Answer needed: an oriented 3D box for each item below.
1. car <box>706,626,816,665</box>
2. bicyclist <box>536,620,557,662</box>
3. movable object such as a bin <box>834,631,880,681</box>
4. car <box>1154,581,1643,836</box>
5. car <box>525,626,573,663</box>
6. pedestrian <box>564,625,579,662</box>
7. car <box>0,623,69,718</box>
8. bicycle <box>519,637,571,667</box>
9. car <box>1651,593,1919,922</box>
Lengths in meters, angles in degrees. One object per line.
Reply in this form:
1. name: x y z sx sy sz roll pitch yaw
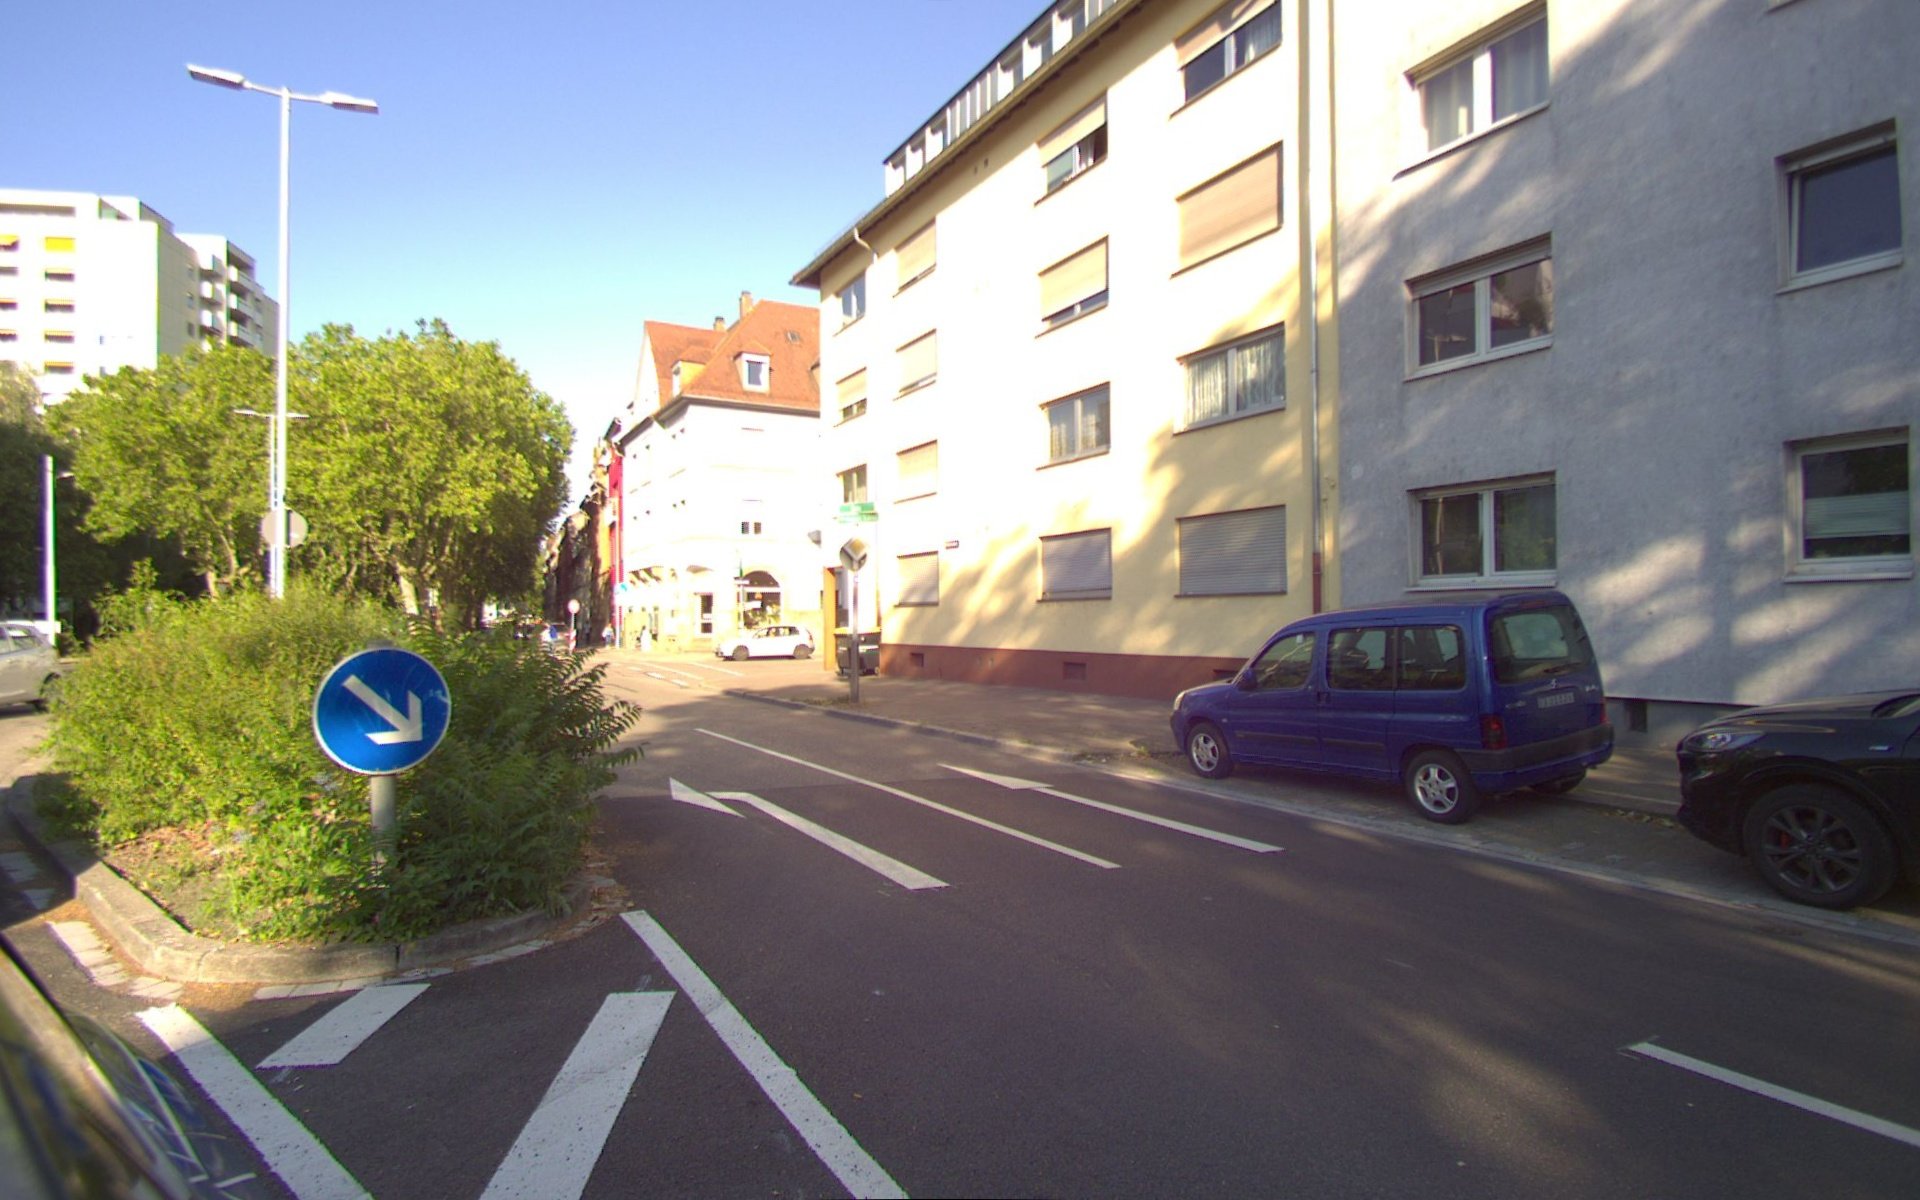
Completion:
1. car: -8.254 1.864 41.975 4.133 1.523 1.807 0 -2 -27
2. bicyclist: -15.930 1.576 38.994 0.738 1.565 0.632 0 -2 -21
3. movable object such as a bin: -2.815 1.508 27.500 1.017 1.296 1.065 0 -2 -19
4. car: 3.808 0.836 9.557 1.641 1.832 4.017 -2 -1 -29
5. car: -21.342 2.274 52.501 1.867 1.806 4.012 1 -2 -29
6. pedestrian: -18.407 2.073 48.001 0.662 1.725 0.715 0 -2 -20
7. car: -15.483 1.080 15.296 1.627 1.465 3.544 0 -2 -16
8. bicycle: -15.955 1.994 38.967 1.837 1.098 0.629 0 -2 -21
9. car: 6.260 0.785 4.820 1.879 1.685 4.507 -2 -1 -27
